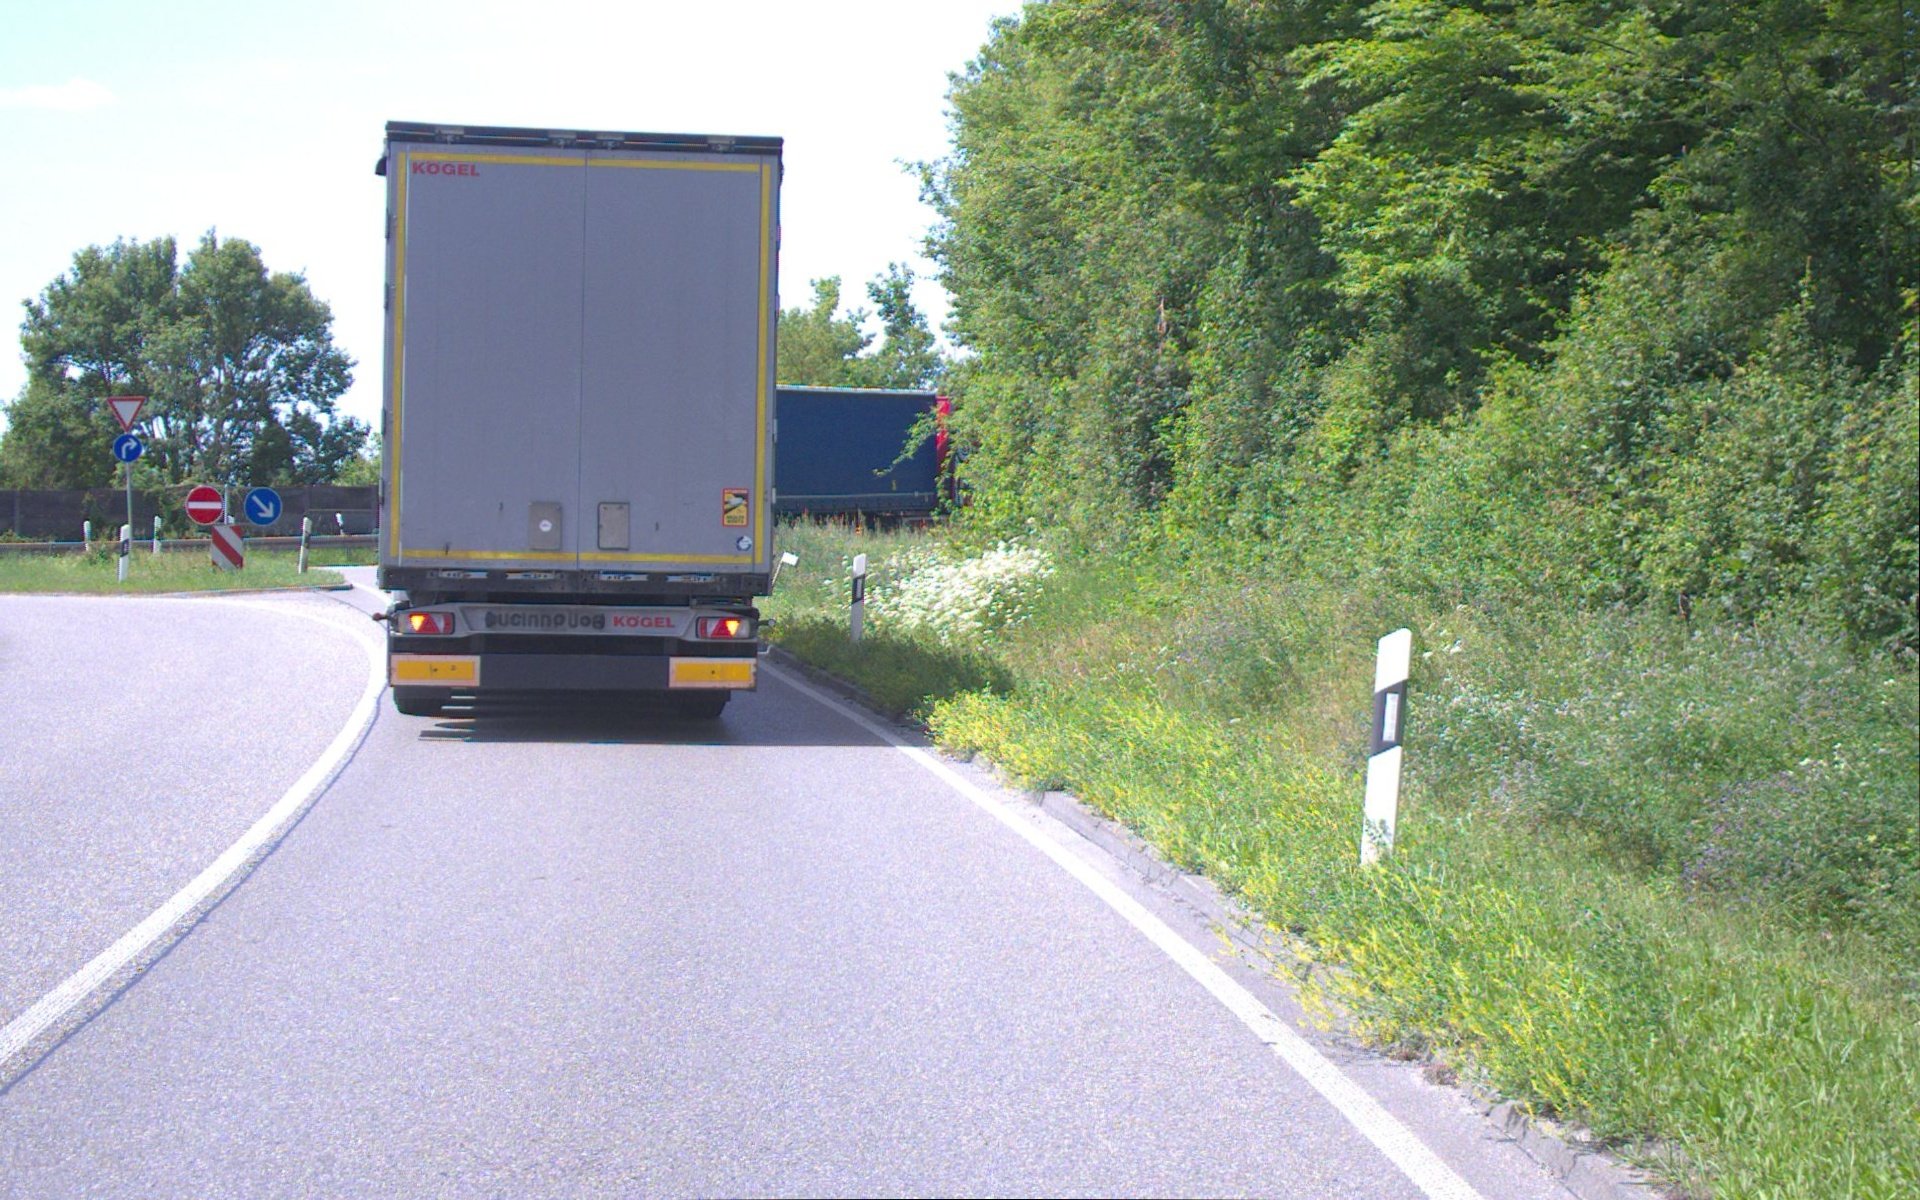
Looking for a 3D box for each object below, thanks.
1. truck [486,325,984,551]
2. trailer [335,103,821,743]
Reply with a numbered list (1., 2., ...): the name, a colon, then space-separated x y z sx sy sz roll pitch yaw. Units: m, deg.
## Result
1. truck: -4.781 -3.623 80.243 3.834 4.728 16.180 0 2 27
2. trailer: -3.209 -1.301 28.635 3.026 4.020 13.356 1 1 -7
